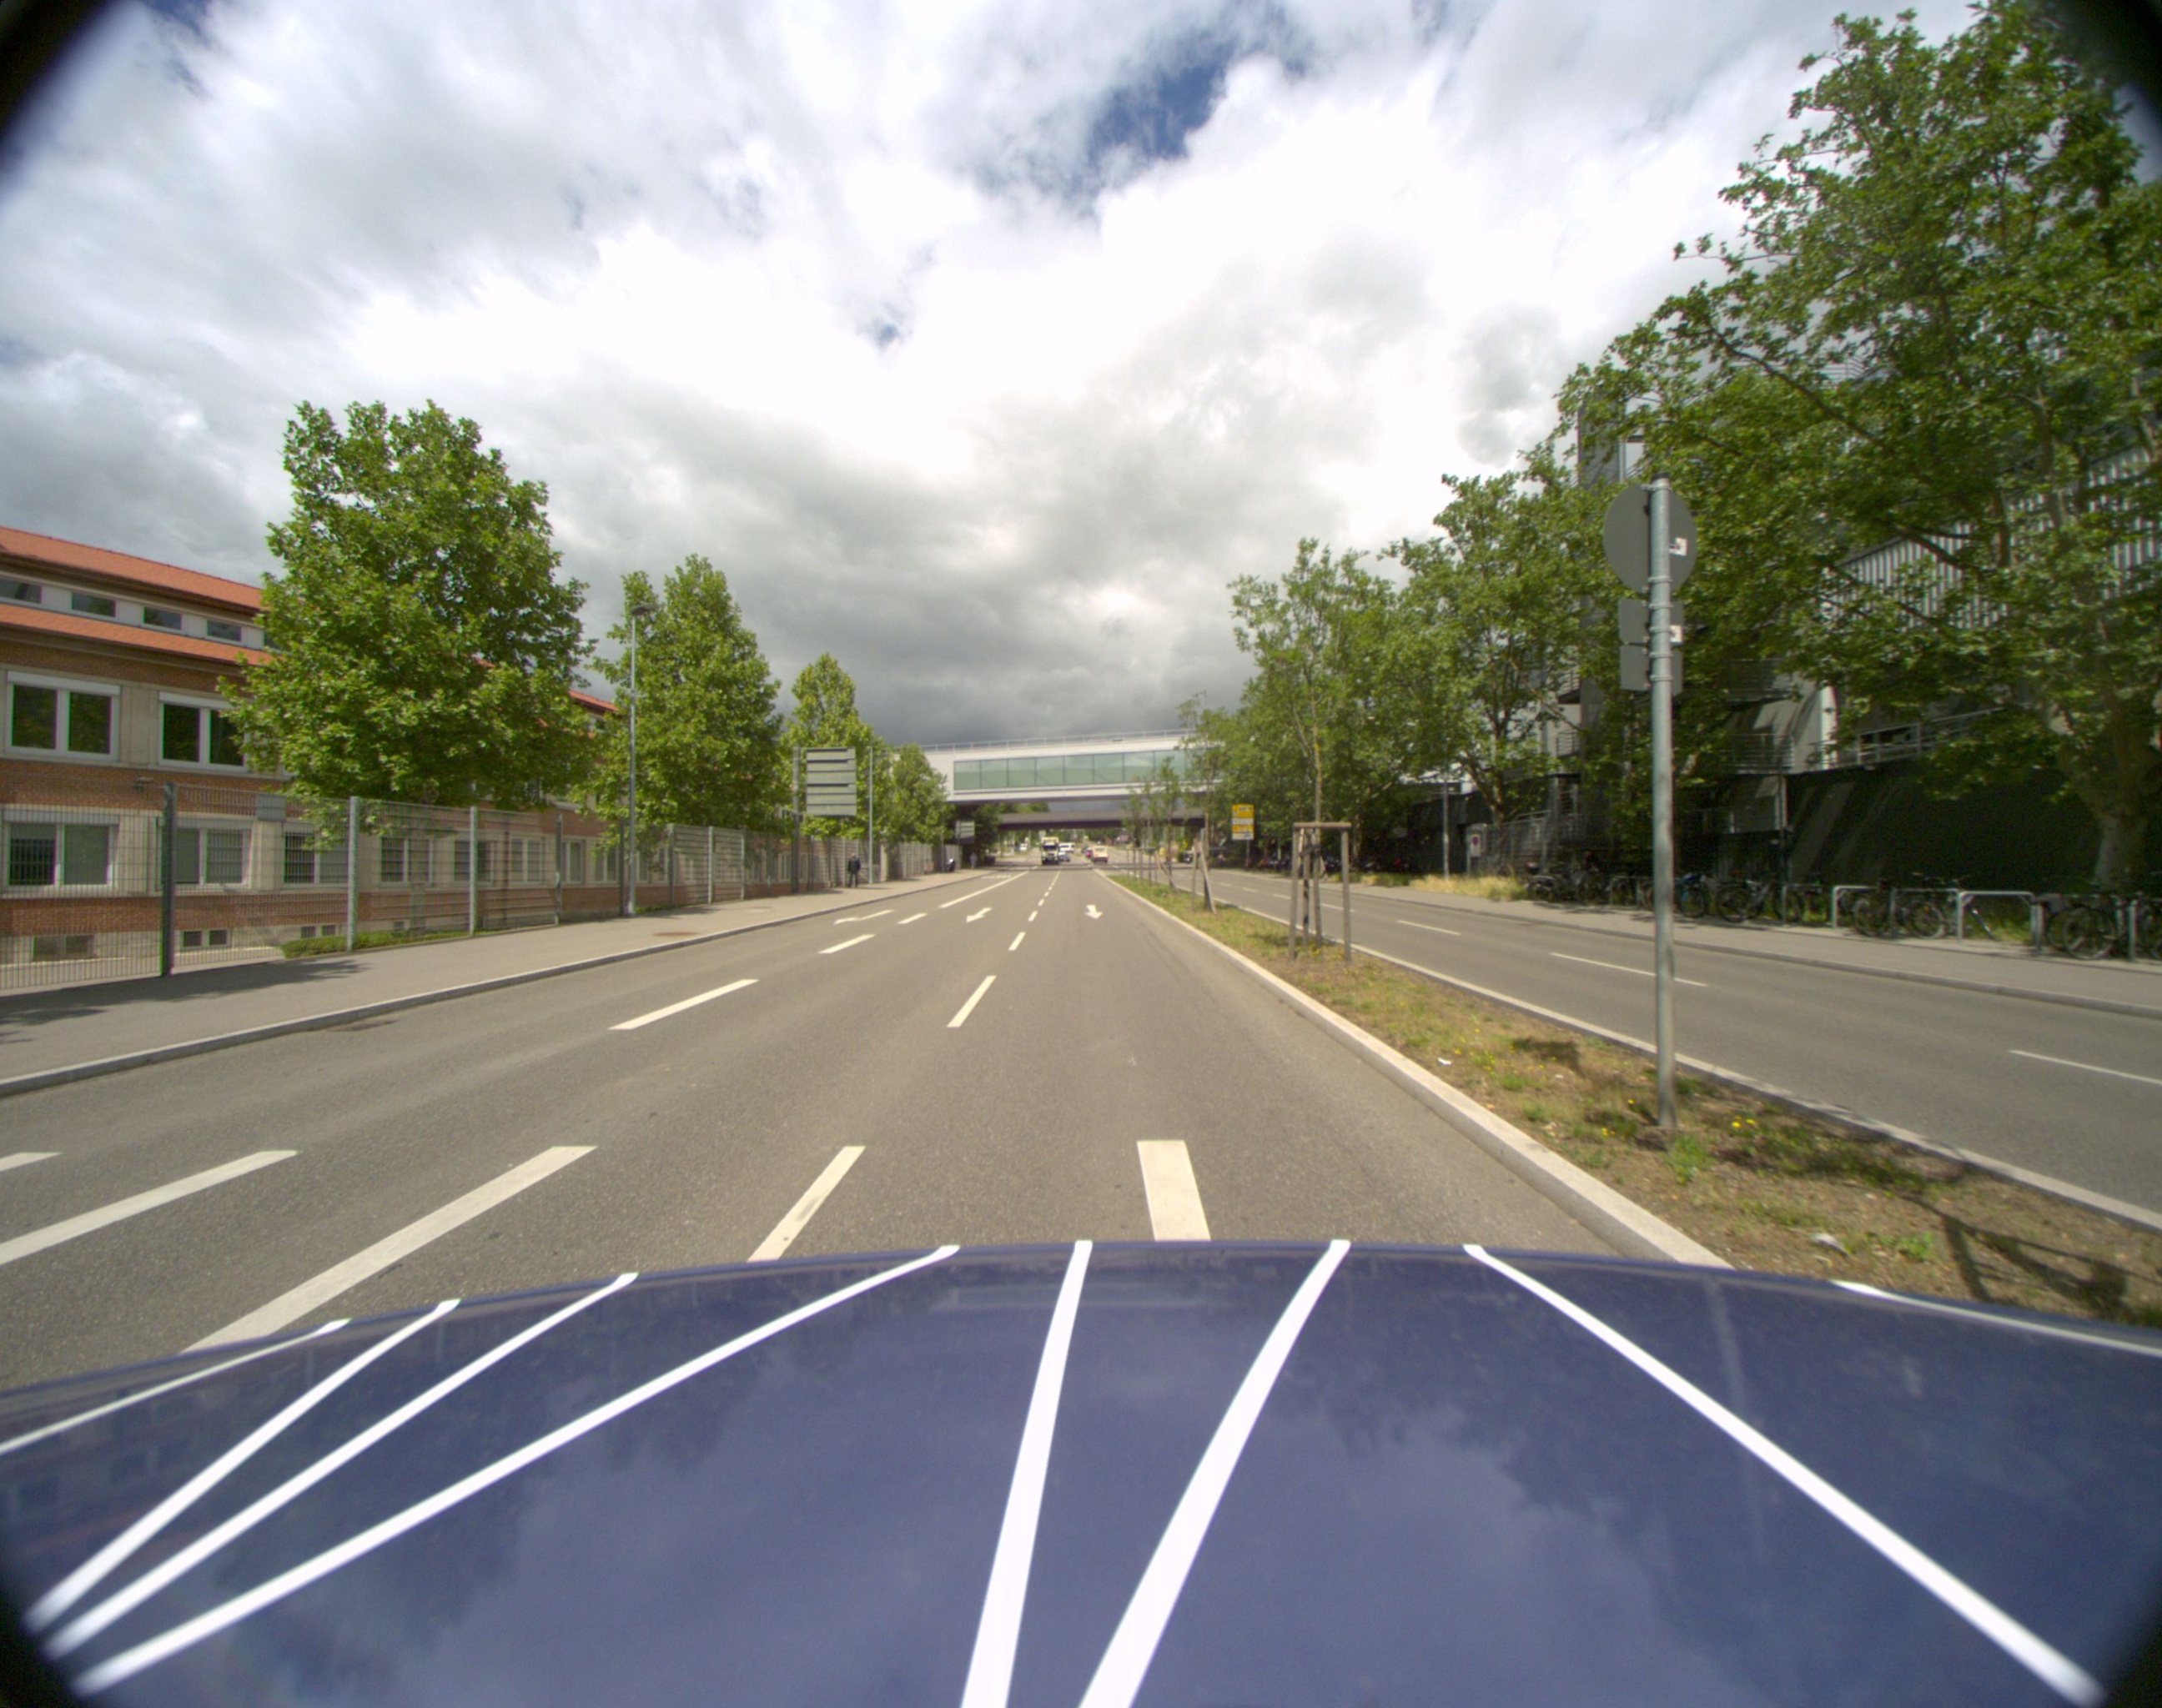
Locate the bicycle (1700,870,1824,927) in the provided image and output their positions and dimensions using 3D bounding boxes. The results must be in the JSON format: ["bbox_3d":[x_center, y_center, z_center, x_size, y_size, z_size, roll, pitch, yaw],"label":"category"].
[{"bbox_3d":[14.345,0.919,16.046,1.923,1.116,0.806,-1,1,-2],"label":"bicycle"}]

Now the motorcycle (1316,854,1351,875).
[{"bbox_3d":[15.467,0.664,46.593,1.882,1.202,0.655,-3,-1,3],"label":"motorcycle"}]

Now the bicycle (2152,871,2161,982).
[{"bbox_3d":[14.323,0.871,9.120,2.172,1.356,0.490,-1,1,2],"label":"bicycle"}]

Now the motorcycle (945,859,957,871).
[{"bbox_3d":[-11.818,0.966,68.968,0.670,1.058,2.246,2,0,-1],"label":"motorcycle"}]

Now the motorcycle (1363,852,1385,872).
[{"bbox_3d":[18.689,0.508,48.500,0.654,1.202,1.984,-3,-1,4],"label":"motorcycle"}]

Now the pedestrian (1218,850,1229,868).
[{"bbox_3d":[13.064,0.470,69.631,0.769,1.603,0.813,-3,1,-1],"label":"pedestrian"}]

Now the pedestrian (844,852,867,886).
[{"bbox_3d":[-11.503,0.750,38.827,0.879,1.733,0.940,1,1,-1],"label":"pedestrian"}]

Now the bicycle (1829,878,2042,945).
[{"bbox_3d":[14.752,0.974,13.189,2.569,1.089,0.696,0,1,10],"label":"bicycle"}]

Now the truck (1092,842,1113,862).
[{"bbox_3d":[3.107,-0.274,111.320,2.486,2.735,6.456,-1,0,-3],"label":"truck"}]

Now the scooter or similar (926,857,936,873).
[{"bbox_3d":[-12.186,0.858,61.768,0.492,1.287,1.336,0,1,-1],"label":"scooter or similar"}]

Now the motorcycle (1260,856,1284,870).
[{"bbox_3d":[14.982,0.719,59.609,1.595,1.027,0.776,-3,-1,1],"label":"motorcycle"}]

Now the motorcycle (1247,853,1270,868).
[{"bbox_3d":[14.992,0.576,64.254,1.745,1.164,0.777,-3,-1,8],"label":"motorcycle"}]

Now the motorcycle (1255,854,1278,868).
[{"bbox_3d":[15.223,0.581,62.315,1.596,1.116,0.775,-3,-1,-9],"label":"motorcycle"}]

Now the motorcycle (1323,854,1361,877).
[{"bbox_3d":[14.639,0.640,42.684,1.881,1.166,0.746,-3,-1,9],"label":"motorcycle"}]

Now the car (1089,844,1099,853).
[{"bbox_3d":[2.703,-1.172,156.269,1.813,1.770,4.977,-1,0,-1],"label":"car"}]

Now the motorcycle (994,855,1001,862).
[{"bbox_3d":[-11.808,0.637,107.457,0.679,1.076,2.180,0,1,-2],"label":"motorcycle"}]

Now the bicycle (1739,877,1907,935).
[{"bbox_3d":[14.774,1.006,15.147,2.844,1.000,0.850,-1,1,-9],"label":"bicycle"}]

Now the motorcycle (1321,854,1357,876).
[{"bbox_3d":[15.132,0.643,44.605,1.881,1.179,0.730,-3,0,8],"label":"motorcycle"}]

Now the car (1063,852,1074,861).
[{"bbox_3d":[-1.932,0.413,121.307,1.675,1.390,3.999,-1,0,-1],"label":"car"}]

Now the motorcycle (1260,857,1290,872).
[{"bbox_3d":[14.688,0.776,57.447,1.939,1.109,0.920,1,1,-12],"label":"motorcycle"}]

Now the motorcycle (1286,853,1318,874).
[{"bbox_3d":[15.114,0.635,51.958,1.934,1.336,0.866,-3,-1,20],"label":"motorcycle"}]

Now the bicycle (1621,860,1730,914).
[{"bbox_3d":[14.914,0.820,19.091,2.139,1.275,0.806,-1,1,-2],"label":"bicycle"}]

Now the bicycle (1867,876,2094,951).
[{"bbox_3d":[14.584,0.969,12.384,2.569,1.151,0.644,-1,1,10],"label":"bicycle"}]

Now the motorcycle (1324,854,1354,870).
[{"bbox_3d":[18.827,0.596,55.438,1.933,1.109,0.923,-3,-1,27],"label":"motorcycle"}]

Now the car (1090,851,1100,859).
[{"bbox_3d":[2.555,0.155,142.253,1.713,1.445,4.479,-1,0,0],"label":"car"}]

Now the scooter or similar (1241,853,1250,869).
[{"bbox_3d":[13.134,0.570,60.753,0.355,1.229,1.479,-2,1,-1],"label":"scooter or similar"}]

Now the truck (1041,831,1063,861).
[{"bbox_3d":[-4.112,-1.116,110.328,2.787,3.981,10.085,-1,0,-1],"label":"truck"}]

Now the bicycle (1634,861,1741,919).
[{"bbox_3d":[14.349,0.839,18.013,1.923,1.275,0.806,-1,1,-2],"label":"bicycle"}]

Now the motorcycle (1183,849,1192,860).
[{"bbox_3d":[12.811,0.055,91.721,0.641,1.191,2.257,-3,1,-1],"label":"motorcycle"}]

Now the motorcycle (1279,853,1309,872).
[{"bbox_3d":[15.188,0.626,54.288,1.934,1.283,0.894,-3,-1,20],"label":"motorcycle"}]

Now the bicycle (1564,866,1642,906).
[{"bbox_3d":[14.751,0.898,21.478,1.929,1.068,0.422,-1,1,-2],"label":"bicycle"}]

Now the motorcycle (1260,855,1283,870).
[{"bbox_3d":[15.259,0.713,60.982,1.595,1.116,0.776,-3,-1,1],"label":"motorcycle"}]

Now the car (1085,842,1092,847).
[{"bbox_3d":[2.008,-2.465,207.124,1.998,1.346,4.000,0,1,1],"label":"car"}]

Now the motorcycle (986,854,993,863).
[{"bbox_3d":[-12.196,0.607,101.813,0.679,1.148,2.112,0,1,0],"label":"motorcycle"}]

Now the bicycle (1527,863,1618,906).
[{"bbox_3d":[14.358,0.869,22.220,2.139,1.173,0.806,-1,1,-2],"label":"bicycle"}]

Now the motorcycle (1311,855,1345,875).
[{"bbox_3d":[15.574,0.680,47.875,1.882,1.172,0.698,-3,-1,3],"label":"motorcycle"}]

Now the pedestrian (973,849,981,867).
[{"bbox_3d":[-11.271,0.444,82.284,0.791,1.877,1.097,0,1,-1],"label":"pedestrian"}]

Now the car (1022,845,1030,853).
[{"bbox_3d":[-15.618,-1.407,215.960,1.999,2.268,3.997,-1,1,-6],"label":"car"}]

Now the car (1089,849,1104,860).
[{"bbox_3d":[2.410,0.060,121.307,1.910,1.621,4.291,-1,0,-4],"label":"car"}]

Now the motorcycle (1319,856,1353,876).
[{"bbox_3d":[15.303,0.703,45.611,1.880,1.078,0.795,-3,-1,15],"label":"motorcycle"}]

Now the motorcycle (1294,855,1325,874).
[{"bbox_3d":[15.121,0.678,50.395,1.880,1.172,0.816,-3,-1,15],"label":"motorcycle"}]

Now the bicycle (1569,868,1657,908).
[{"bbox_3d":[14.699,0.933,21.009,2.086,1.056,0.497,-1,1,-2],"label":"bicycle"}]

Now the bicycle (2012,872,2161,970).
[{"bbox_3d":[14.345,0.902,10.415,2.410,1.250,0.556,-1,1,2],"label":"bicycle"}]

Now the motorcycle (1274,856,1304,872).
[{"bbox_3d":[15.260,0.732,55.709,1.933,1.109,0.923,-3,-1,27],"label":"motorcycle"}]

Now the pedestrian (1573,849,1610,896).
[{"bbox_3d":[17.025,0.612,25.364,0.755,1.543,0.821,-1,1,10],"label":"pedestrian"}]

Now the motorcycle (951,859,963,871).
[{"bbox_3d":[-11.763,1.012,72.099,0.709,1.058,2.510,2,0,-1],"label":"motorcycle"}]

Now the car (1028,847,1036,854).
[{"bbox_3d":[-13.382,-0.944,206.398,1.999,1.888,4.080,0,1,-5],"label":"car"}]

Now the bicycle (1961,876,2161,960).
[{"bbox_3d":[15.009,0.948,11.338,2.569,1.151,0.726,-1,1,10],"label":"bicycle"}]

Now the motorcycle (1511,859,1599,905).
[{"bbox_3d":[14.264,0.827,22.902,2.139,1.301,0.806,-1,1,-2],"label":"motorcycle"}]

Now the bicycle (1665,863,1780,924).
[{"bbox_3d":[14.383,0.876,17.062,1.923,1.275,0.806,-1,1,-2],"label":"bicycle"}]

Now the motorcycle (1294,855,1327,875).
[{"bbox_3d":[14.848,0.727,49.201,1.881,1.172,0.815,-3,-1,9],"label":"motorcycle"}]
